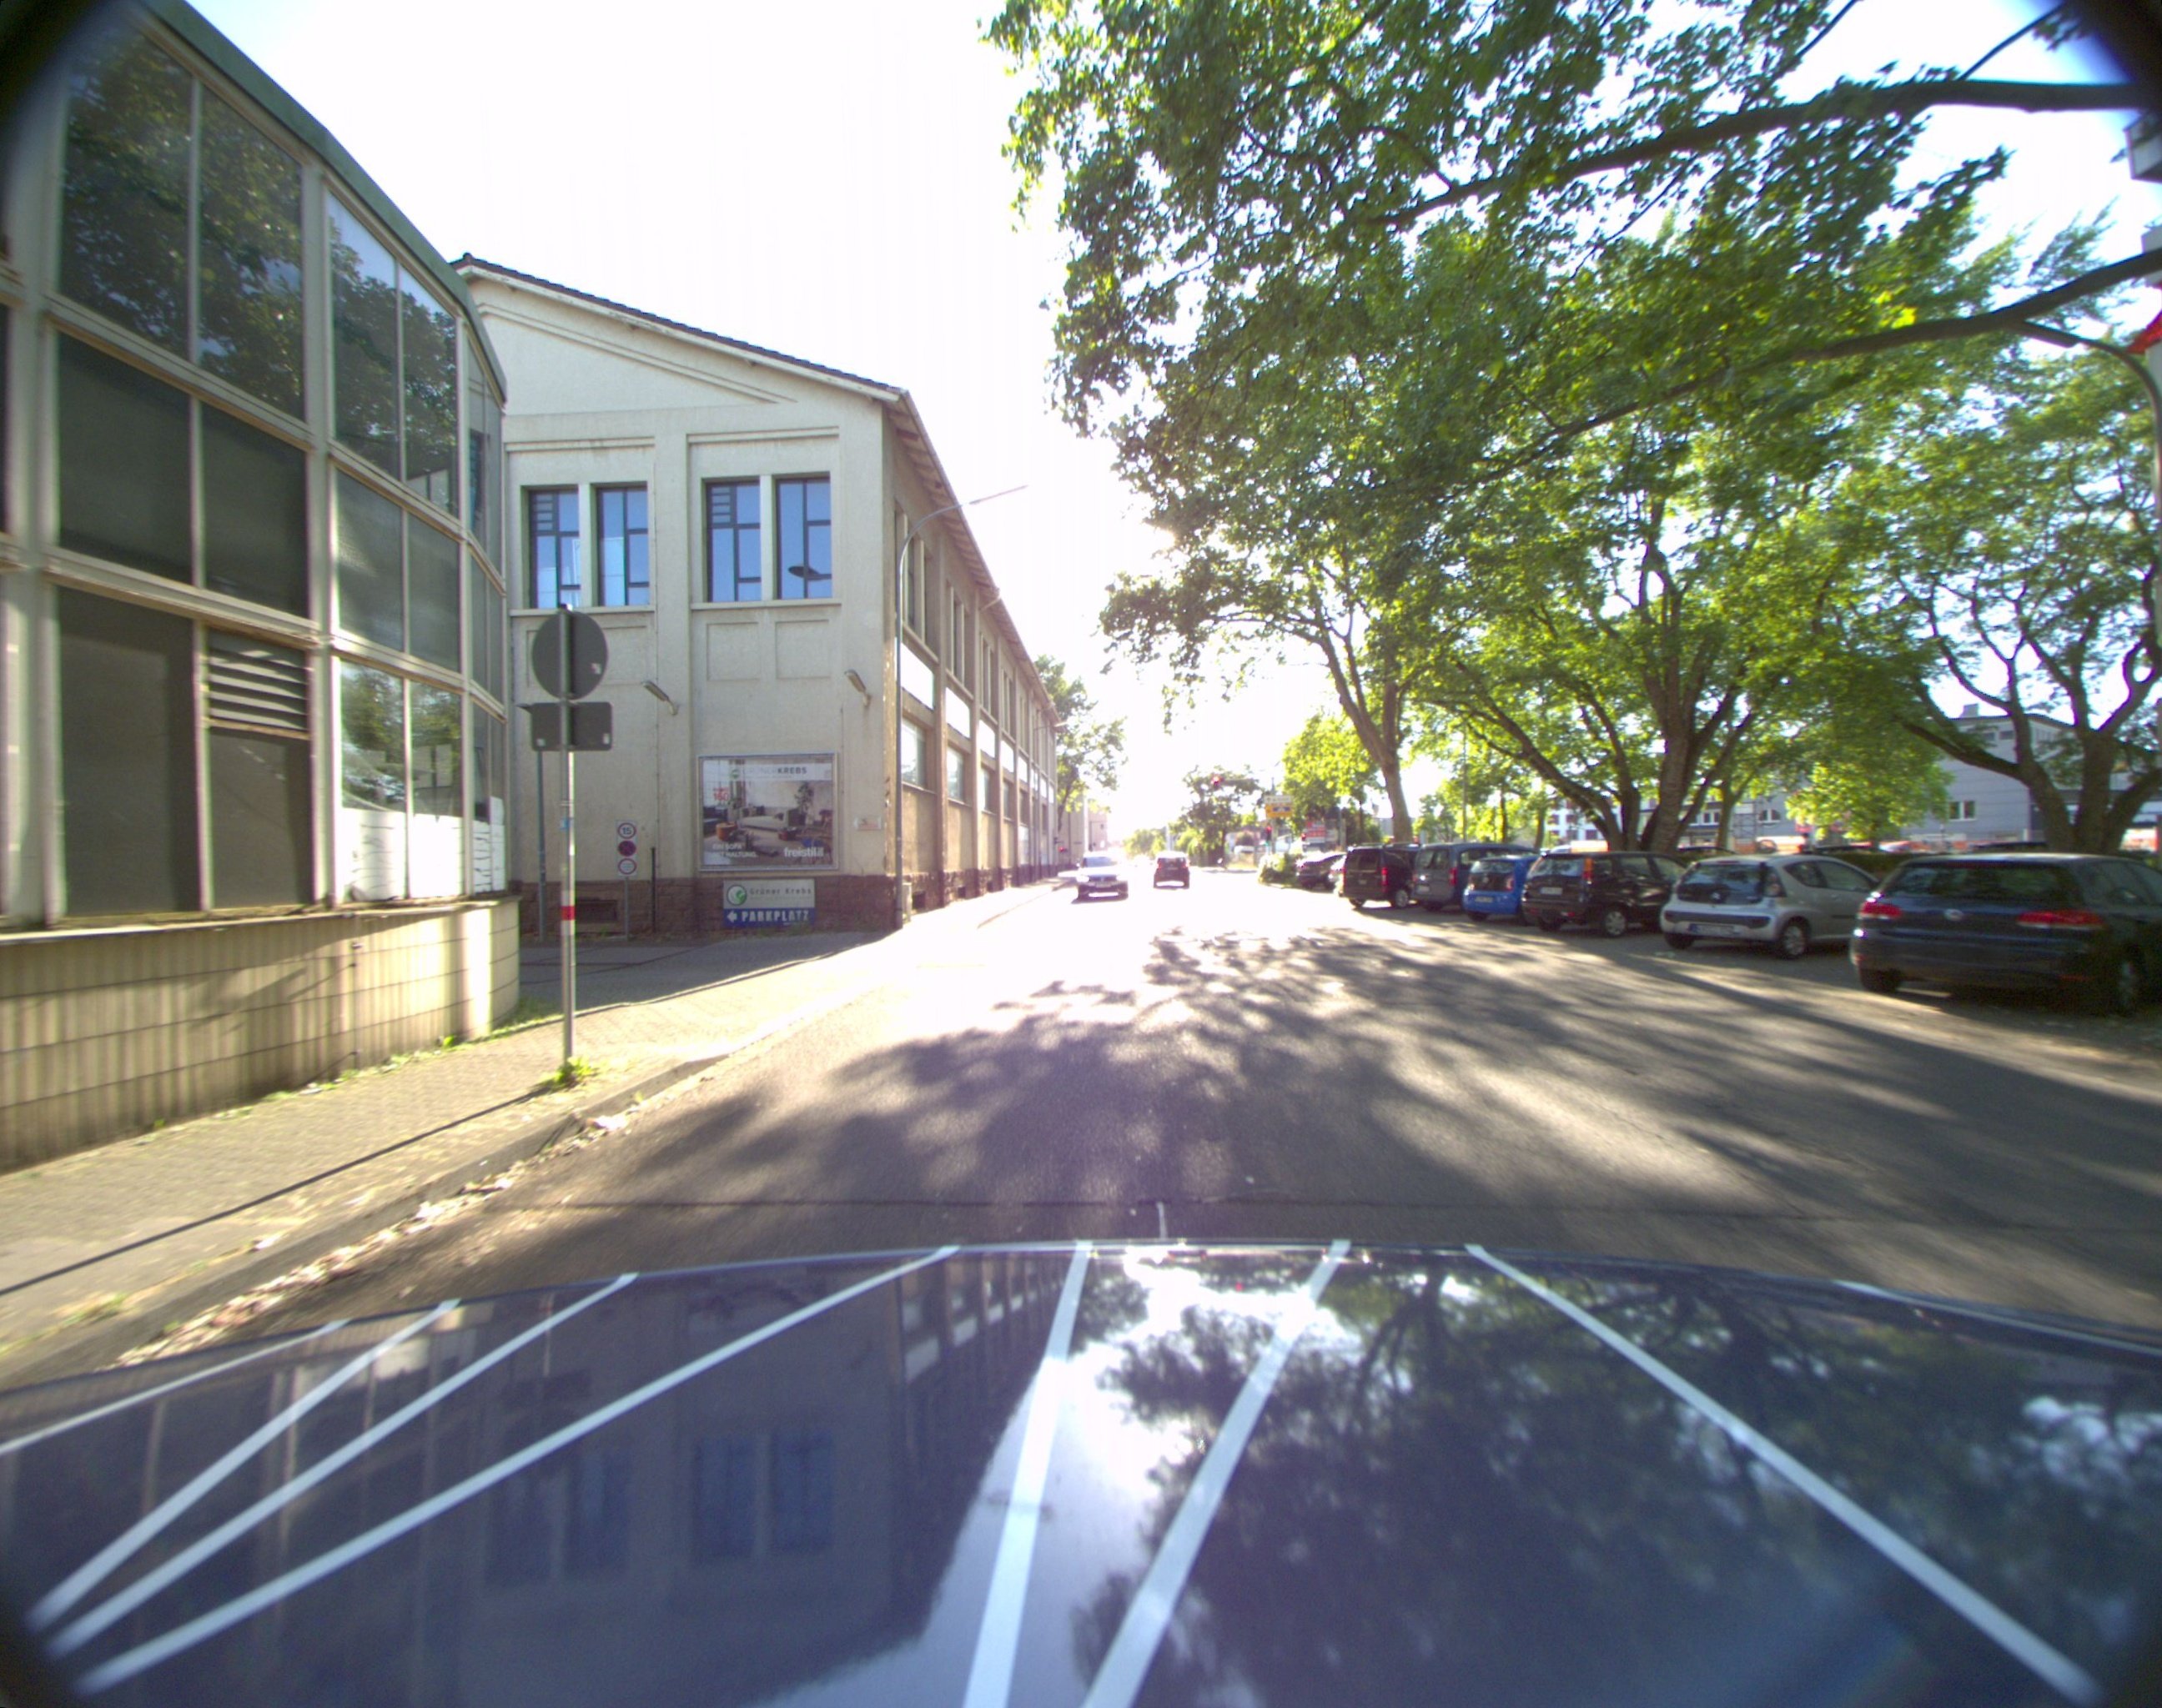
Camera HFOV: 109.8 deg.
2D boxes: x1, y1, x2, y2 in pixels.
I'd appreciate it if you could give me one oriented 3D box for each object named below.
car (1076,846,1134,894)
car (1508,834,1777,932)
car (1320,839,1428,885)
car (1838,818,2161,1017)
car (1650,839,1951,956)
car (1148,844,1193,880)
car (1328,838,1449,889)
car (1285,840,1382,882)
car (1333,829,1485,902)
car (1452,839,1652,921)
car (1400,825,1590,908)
[{"bbox_3d":[0.849,0.520,27.137,1.854,1.527,3.857,-3,0,1],"label":"car"},{"bbox_3d":[10.403,0.486,14.196,4.001,1.615,1.796,-1,0,-11],"label":"car"},{"bbox_3d":[11.618,0.289,30.092,4.005,1.633,1.713,-2,1,-28],"label":"car"},{"bbox_3d":[9.917,0.496,7.864,3.654,1.652,1.647,-2,1,-22],"label":"car"},{"bbox_3d":[10.817,0.573,11.479,3.652,1.453,1.703,-2,1,-17],"label":"car"},{"bbox_3d":[4.361,0.358,37.477,1.964,1.633,4.001,-2,0,4],"label":"car"},{"bbox_3d":[10.966,0.297,27.112,4.005,1.633,1.713,-2,1,-25],"label":"car"},{"bbox_3d":[10.933,0.267,32.850,4.006,1.633,1.713,-2,1,-31],"label":"car"},{"bbox_3d":[9.503,0.288,22.006,4.004,1.875,1.714,-2,1,-22],"label":"car"},{"bbox_3d":[10.219,0.523,16.553,3.601,1.551,1.648,-2,1,-14],"label":"car"},{"bbox_3d":[10.515,0.287,19.389,4.001,1.871,1.832,-2,1,-12],"label":"car"}]
